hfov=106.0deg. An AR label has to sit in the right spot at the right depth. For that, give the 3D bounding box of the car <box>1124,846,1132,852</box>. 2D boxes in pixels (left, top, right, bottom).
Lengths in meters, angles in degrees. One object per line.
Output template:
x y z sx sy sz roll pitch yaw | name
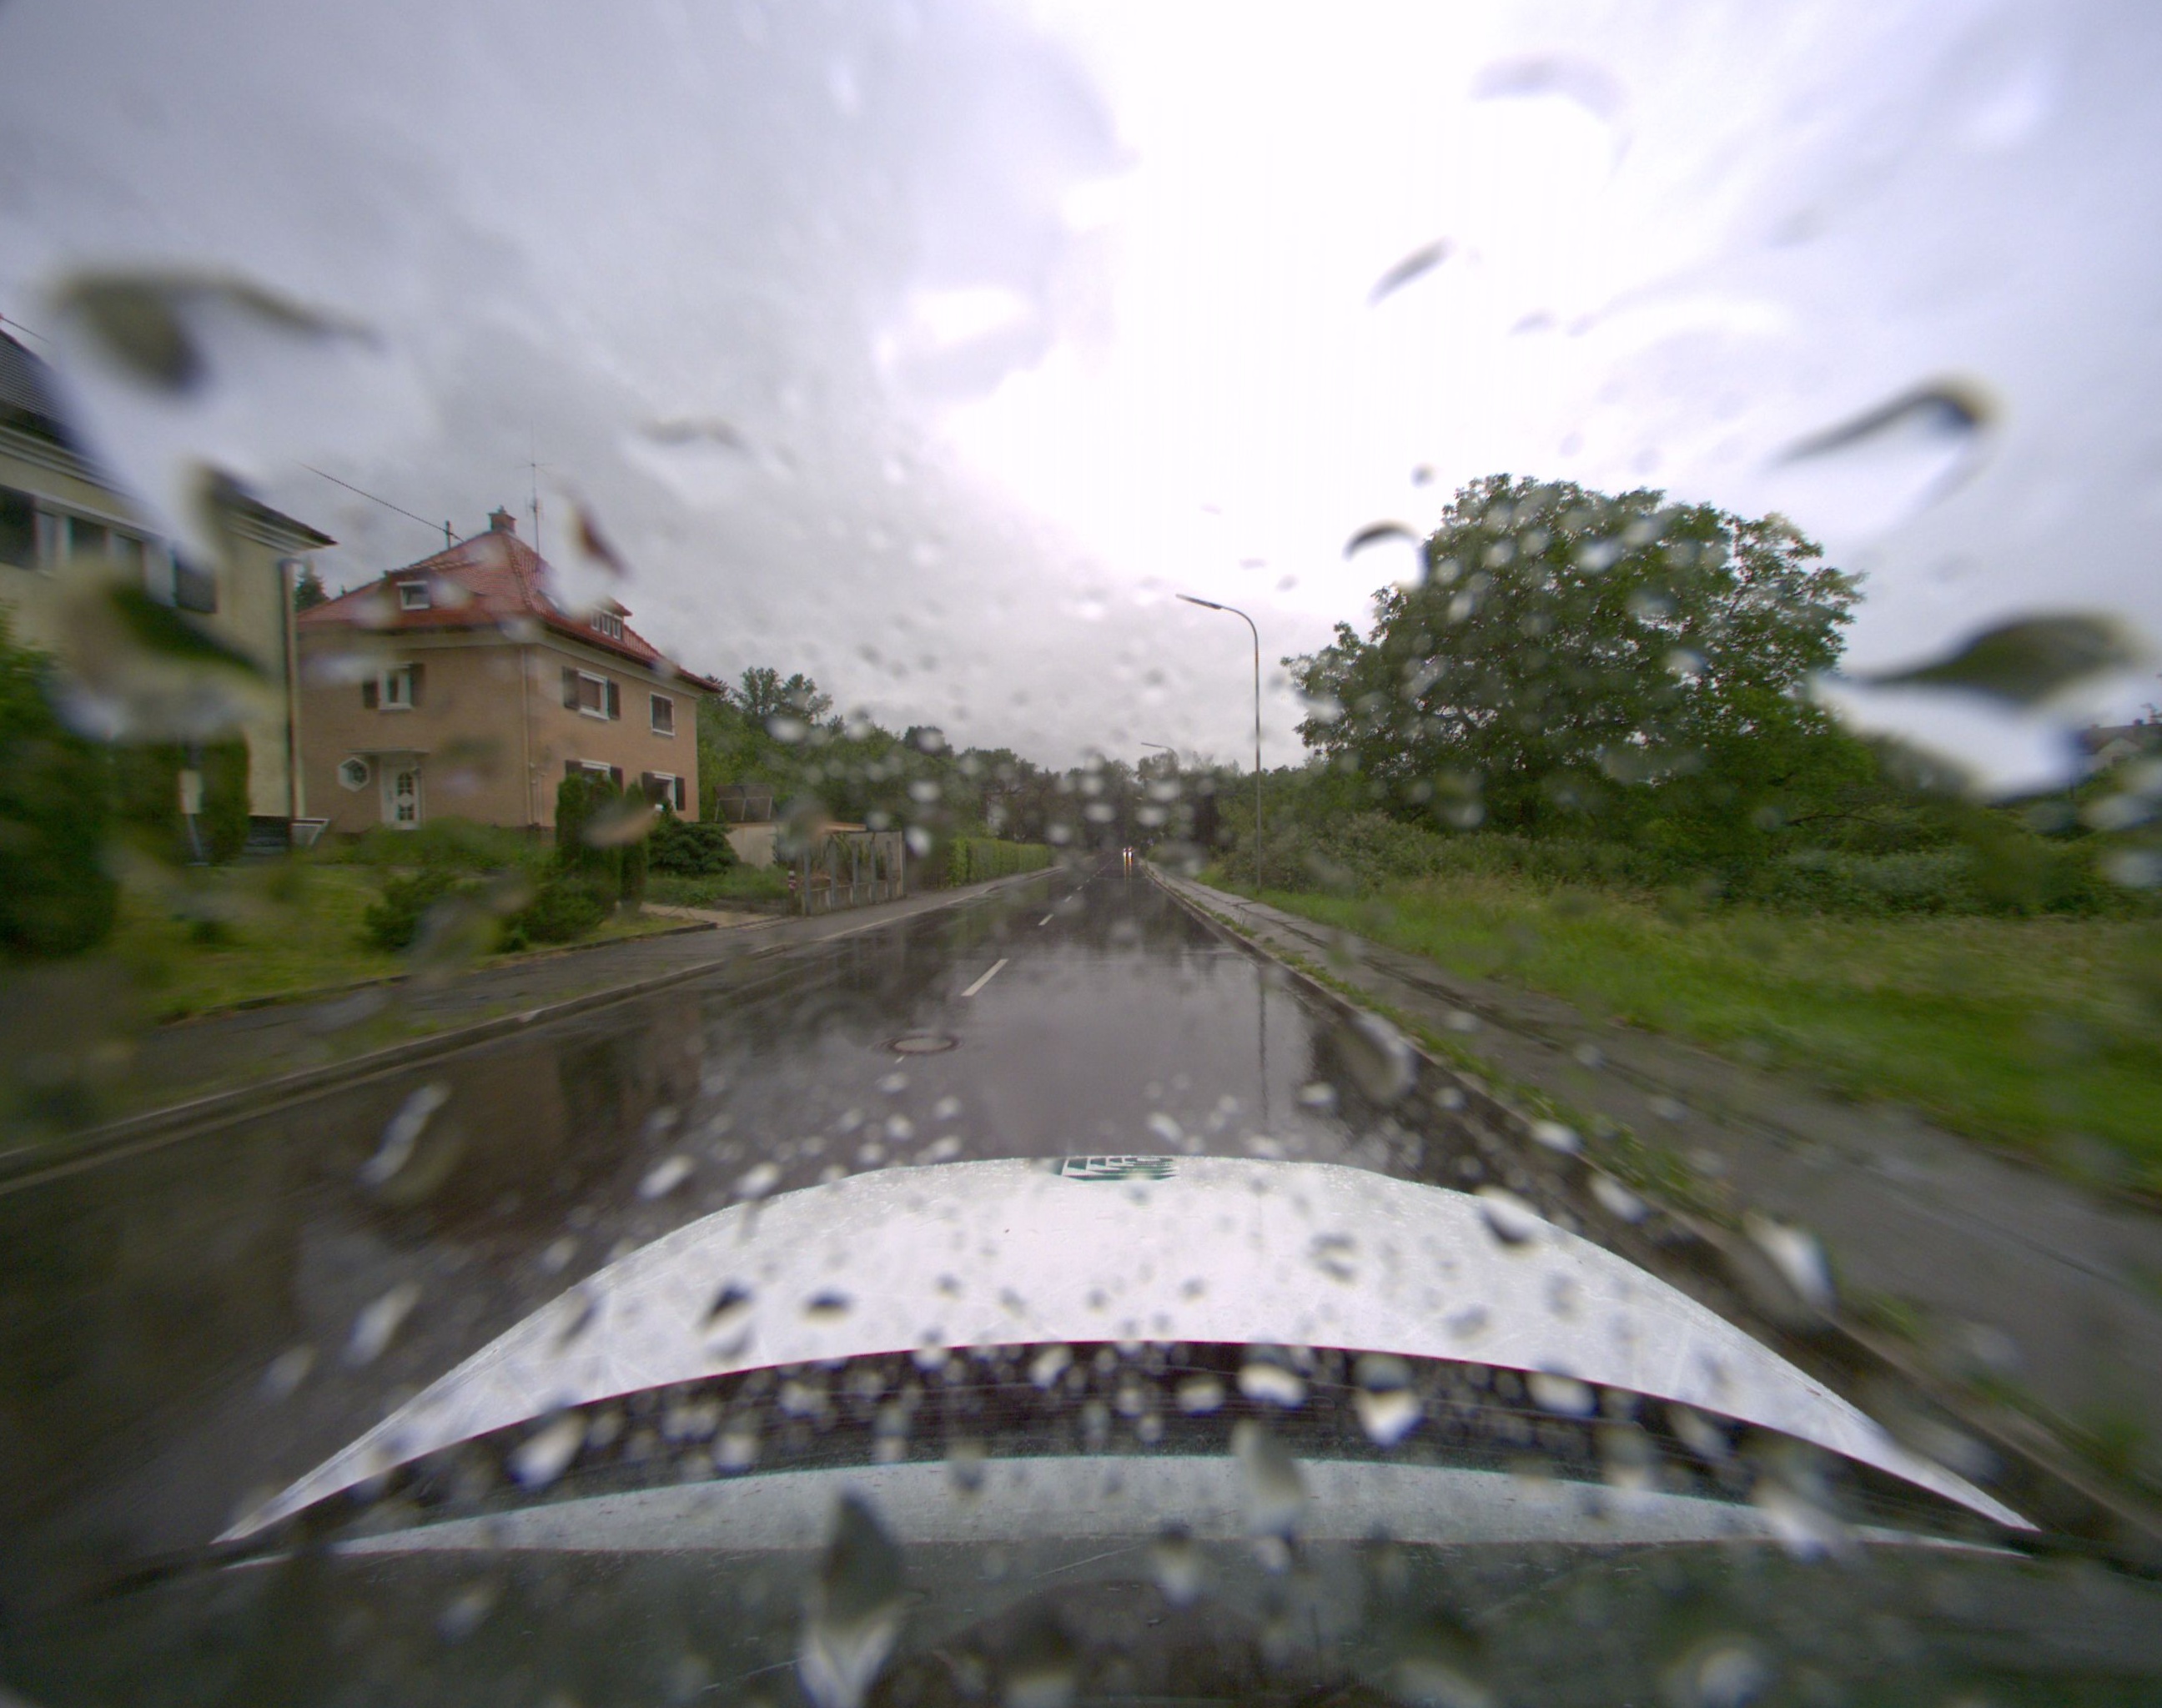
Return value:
12.692 -1.280 219.924 1.985 1.453 4.432 0 1 3 | car
